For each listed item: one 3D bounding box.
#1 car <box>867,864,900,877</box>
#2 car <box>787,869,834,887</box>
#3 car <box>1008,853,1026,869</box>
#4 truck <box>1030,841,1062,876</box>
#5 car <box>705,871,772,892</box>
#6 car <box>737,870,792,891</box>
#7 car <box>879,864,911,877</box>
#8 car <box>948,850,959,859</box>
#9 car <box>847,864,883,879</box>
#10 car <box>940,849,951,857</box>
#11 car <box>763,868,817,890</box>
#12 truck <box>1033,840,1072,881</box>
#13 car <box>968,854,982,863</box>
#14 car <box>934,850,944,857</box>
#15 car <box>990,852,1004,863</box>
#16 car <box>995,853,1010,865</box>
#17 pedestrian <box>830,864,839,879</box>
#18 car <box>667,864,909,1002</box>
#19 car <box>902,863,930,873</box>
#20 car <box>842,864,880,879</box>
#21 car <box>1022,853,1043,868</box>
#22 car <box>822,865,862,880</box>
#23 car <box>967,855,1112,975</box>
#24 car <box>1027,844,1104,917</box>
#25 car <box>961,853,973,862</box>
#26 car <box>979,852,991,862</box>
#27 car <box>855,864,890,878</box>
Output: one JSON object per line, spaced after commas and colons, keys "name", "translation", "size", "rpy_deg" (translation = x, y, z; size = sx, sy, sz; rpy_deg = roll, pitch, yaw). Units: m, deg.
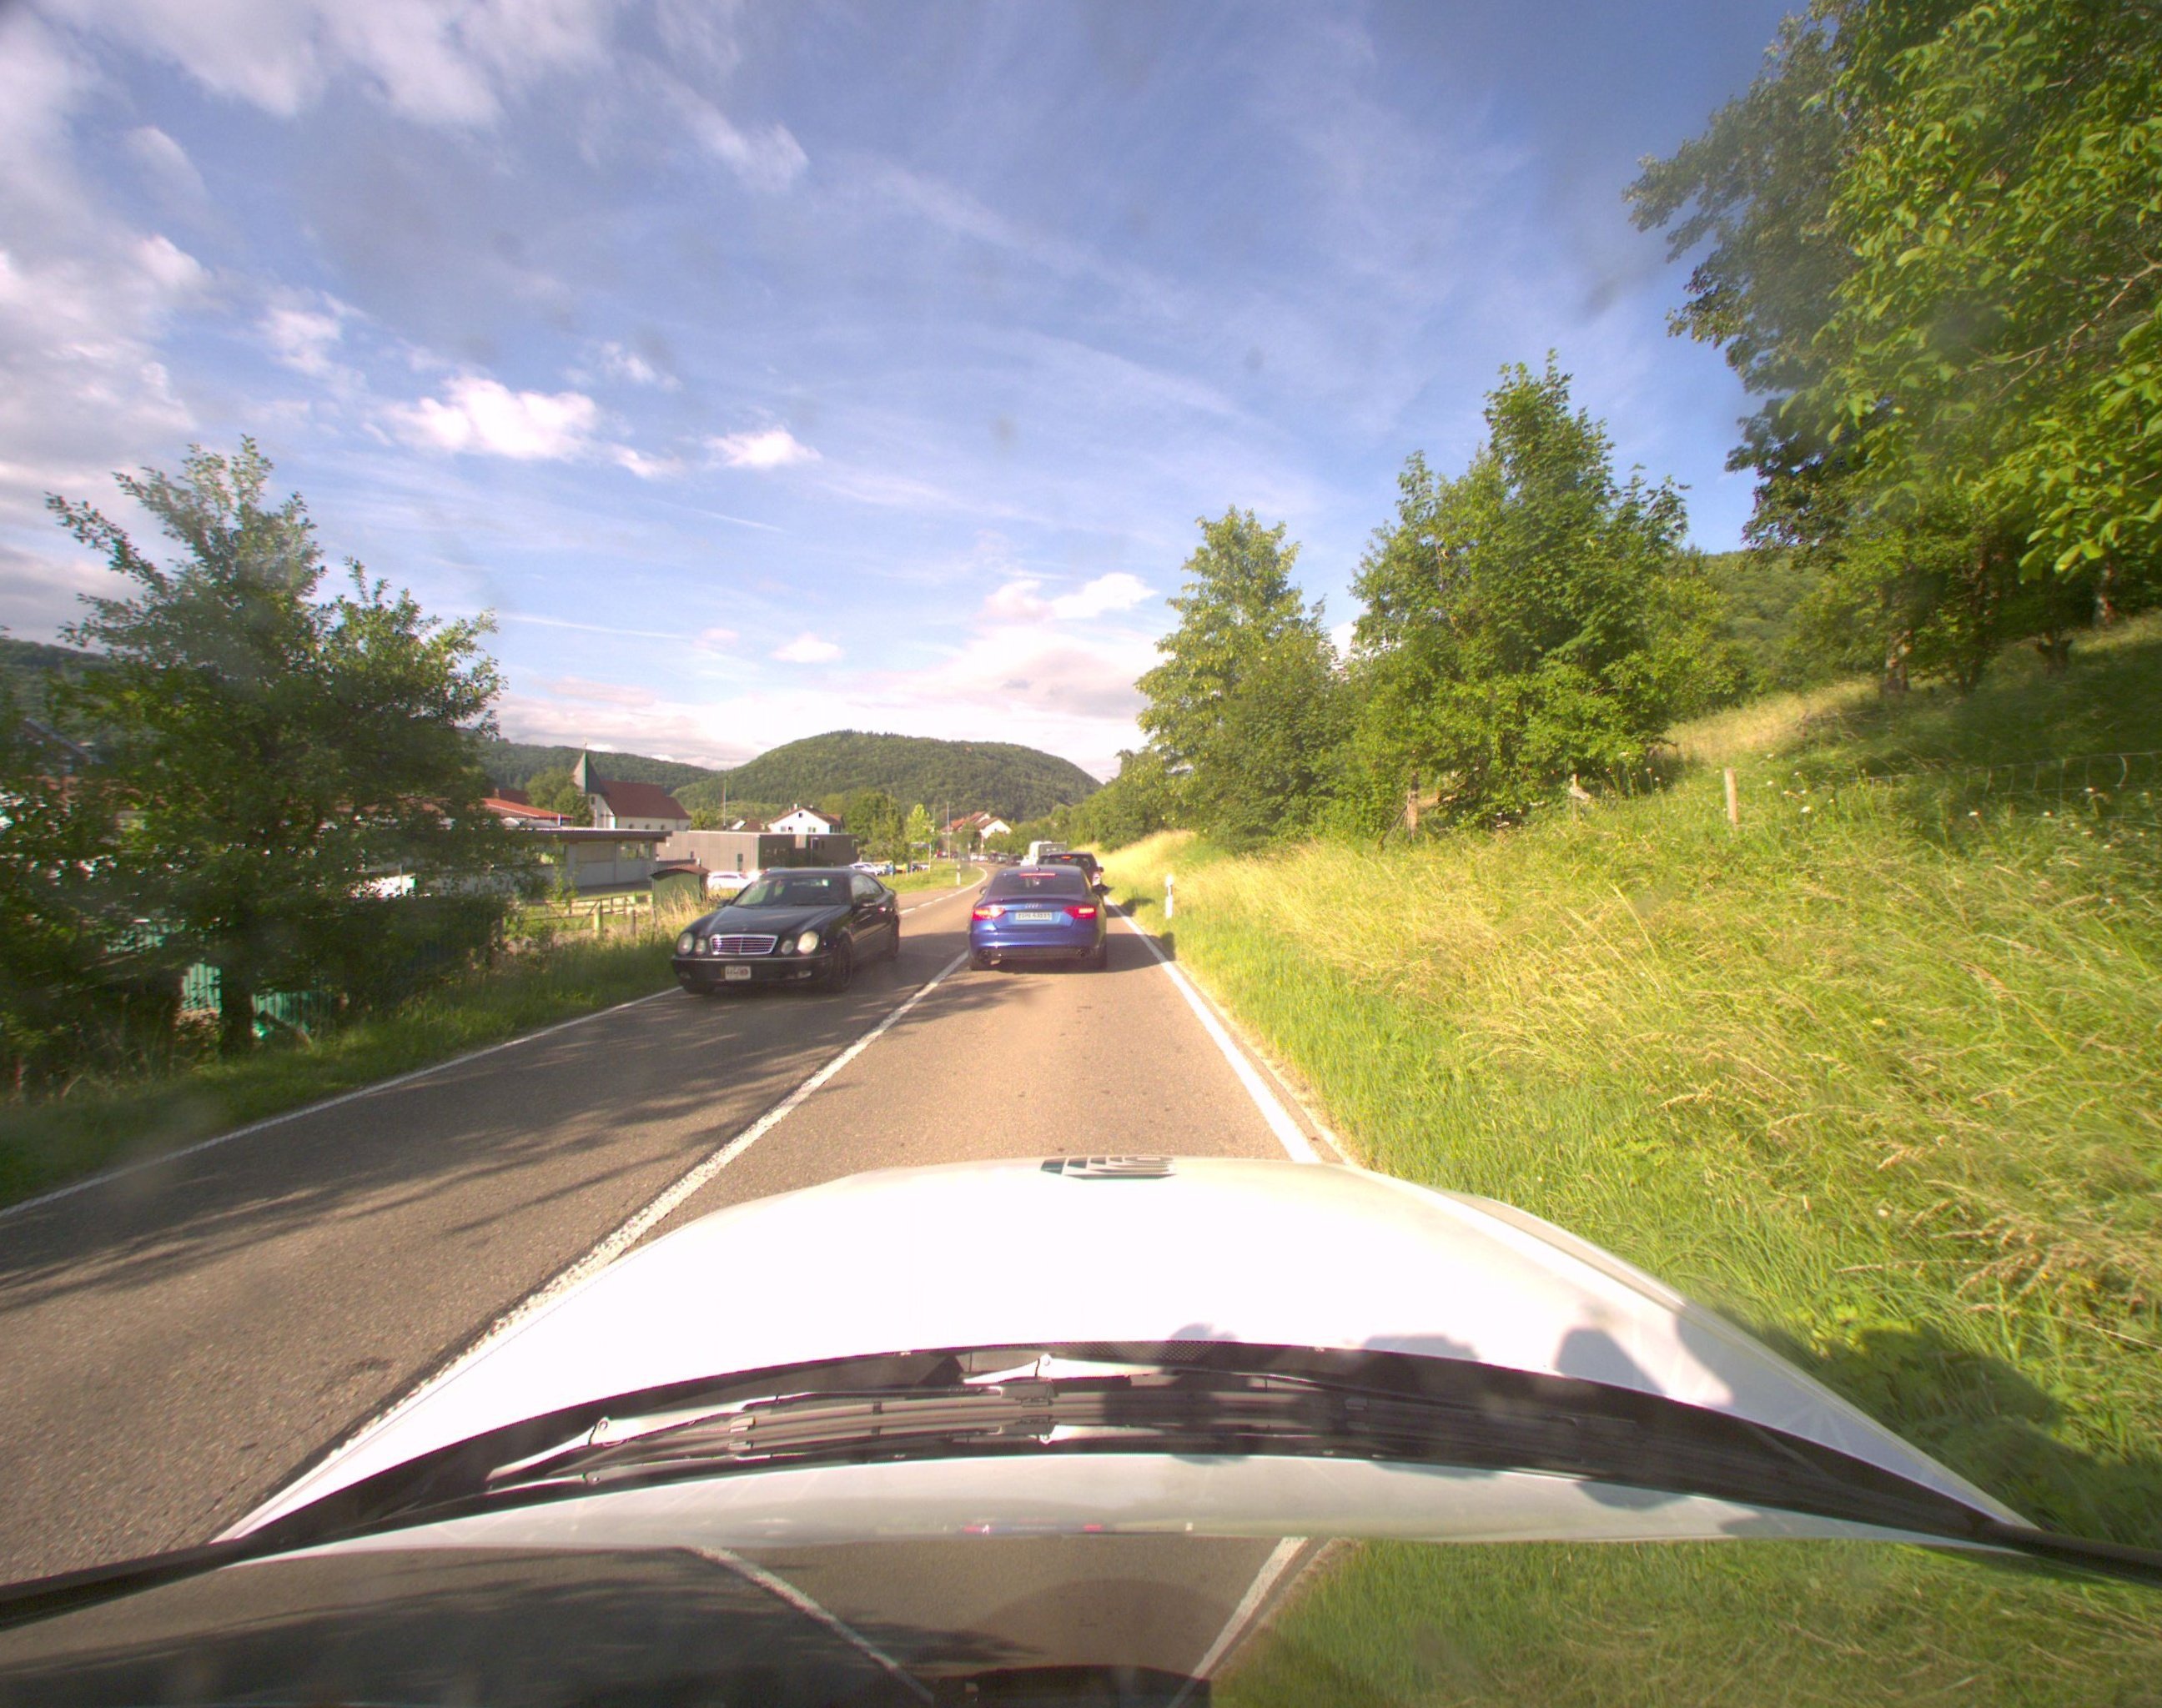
{"name": "car", "translation": [-26.364, 2.211, 108.963], "size": [3.978, 1.711, 1.998], "rpy_deg": [-1, -1, -3]}
{"name": "car", "translation": [-26.851, 2.385, 80.921], "size": [3.978, 1.711, 1.998], "rpy_deg": [-1, -1, -3]}
{"name": "car", "translation": [-7.108, 0.744, 90.017], "size": [1.843, 1.712, 3.991], "rpy_deg": [0, -1, -7]}
{"name": "truck", "translation": [-2.777, 0.334, 62.954], "size": [2.226, 2.570, 6.697], "rpy_deg": [0, -1, -4]}
{"name": "car", "translation": [-28.621, 2.299, 68.186], "size": [4.720, 1.711, 1.998], "rpy_deg": [-1, -1, -3]}
{"name": "car", "translation": [-27.600, 2.313, 71.066], "size": [3.978, 1.711, 1.998], "rpy_deg": [-1, -1, -3]}
{"name": "car", "translation": [-25.416, 2.223, 111.479], "size": [3.978, 1.711, 1.998], "rpy_deg": [-1, -1, -3]}
{"name": "car", "translation": [-27.762, 0.110, 177.215], "size": [1.851, 1.712, 3.975], "rpy_deg": [0, -1, -18]}
{"name": "car", "translation": [-26.478, 2.139, 99.892], "size": [3.978, 1.711, 1.998], "rpy_deg": [-1, -1, -3]}
{"name": "car", "translation": [-31.155, -0.214, 186.670], "size": [1.851, 1.712, 3.975], "rpy_deg": [0, -1, -18]}
{"name": "car", "translation": [-27.359, 2.356, 76.703], "size": [4.396, 2.008, 1.998], "rpy_deg": [-1, -1, -3]}
{"name": "truck", "translation": [-1.996, 0.438, 55.040], "size": [2.227, 2.570, 6.089], "rpy_deg": [0, -1, -6]}
{"name": "car", "translation": [-19.569, 0.804, 149.710], "size": [1.851, 1.712, 3.975], "rpy_deg": [0, -1, -18]}
{"name": "car", "translation": [-34.118, -0.052, 196.172], "size": [1.851, 1.712, 3.975], "rpy_deg": [0, -1, -18]}
{"name": "car", "translation": [-12.888, 0.554, 125.171], "size": [1.845, 1.712, 3.987], "rpy_deg": [0, -1, -10]}
{"name": "car", "translation": [-11.398, 0.694, 117.663], "size": [1.845, 1.712, 3.987], "rpy_deg": [0, -1, -9]}
{"name": "pedestrian", "translation": [-32.288, 2.285, 106.702], "size": [0.822, 2.014, 0.973], "rpy_deg": [-1, -1, -1]}
{"name": "car", "translation": [-3.404, 0.819, 10.335], "size": [1.589, 1.354, 4.201], "rpy_deg": [-1, 0, -1]}
{"name": "car", "translation": [-25.547, 2.180, 125.983], "size": [3.978, 1.579, 1.751], "rpy_deg": [-1, -1, -3]}
{"name": "car", "translation": [-25.982, 2.105, 96.243], "size": [3.978, 1.711, 1.998], "rpy_deg": [-1, -1, -3]}
{"name": "car", "translation": [-4.702, 0.627, 78.350], "size": [1.843, 1.482, 3.991], "rpy_deg": [0, -1, -7]}
{"name": "car", "translation": [-26.859, 2.076, 91.657], "size": [3.978, 1.711, 1.998], "rpy_deg": [-1, -1, -3]}
{"name": "car", "translation": [-0.478, 0.755, 11.762], "size": [1.748, 1.430, 3.846], "rpy_deg": [-1, -1, 1]}
{"name": "car", "translation": [-0.335, 0.625, 20.733], "size": [1.748, 1.681, 3.846], "rpy_deg": [-1, -1, 1]}
{"name": "car", "translation": [-19.340, 0.553, 137.842], "size": [1.705, 1.430, 4.034], "rpy_deg": [0, -1, -12]}
{"name": "car", "translation": [-16.070, 0.546, 136.297], "size": [1.845, 1.712, 3.987], "rpy_deg": [0, -1, -10]}
{"name": "car", "translation": [-26.393, 2.165, 103.177], "size": [3.978, 1.711, 1.998], "rpy_deg": [-1, -1, -3]}
